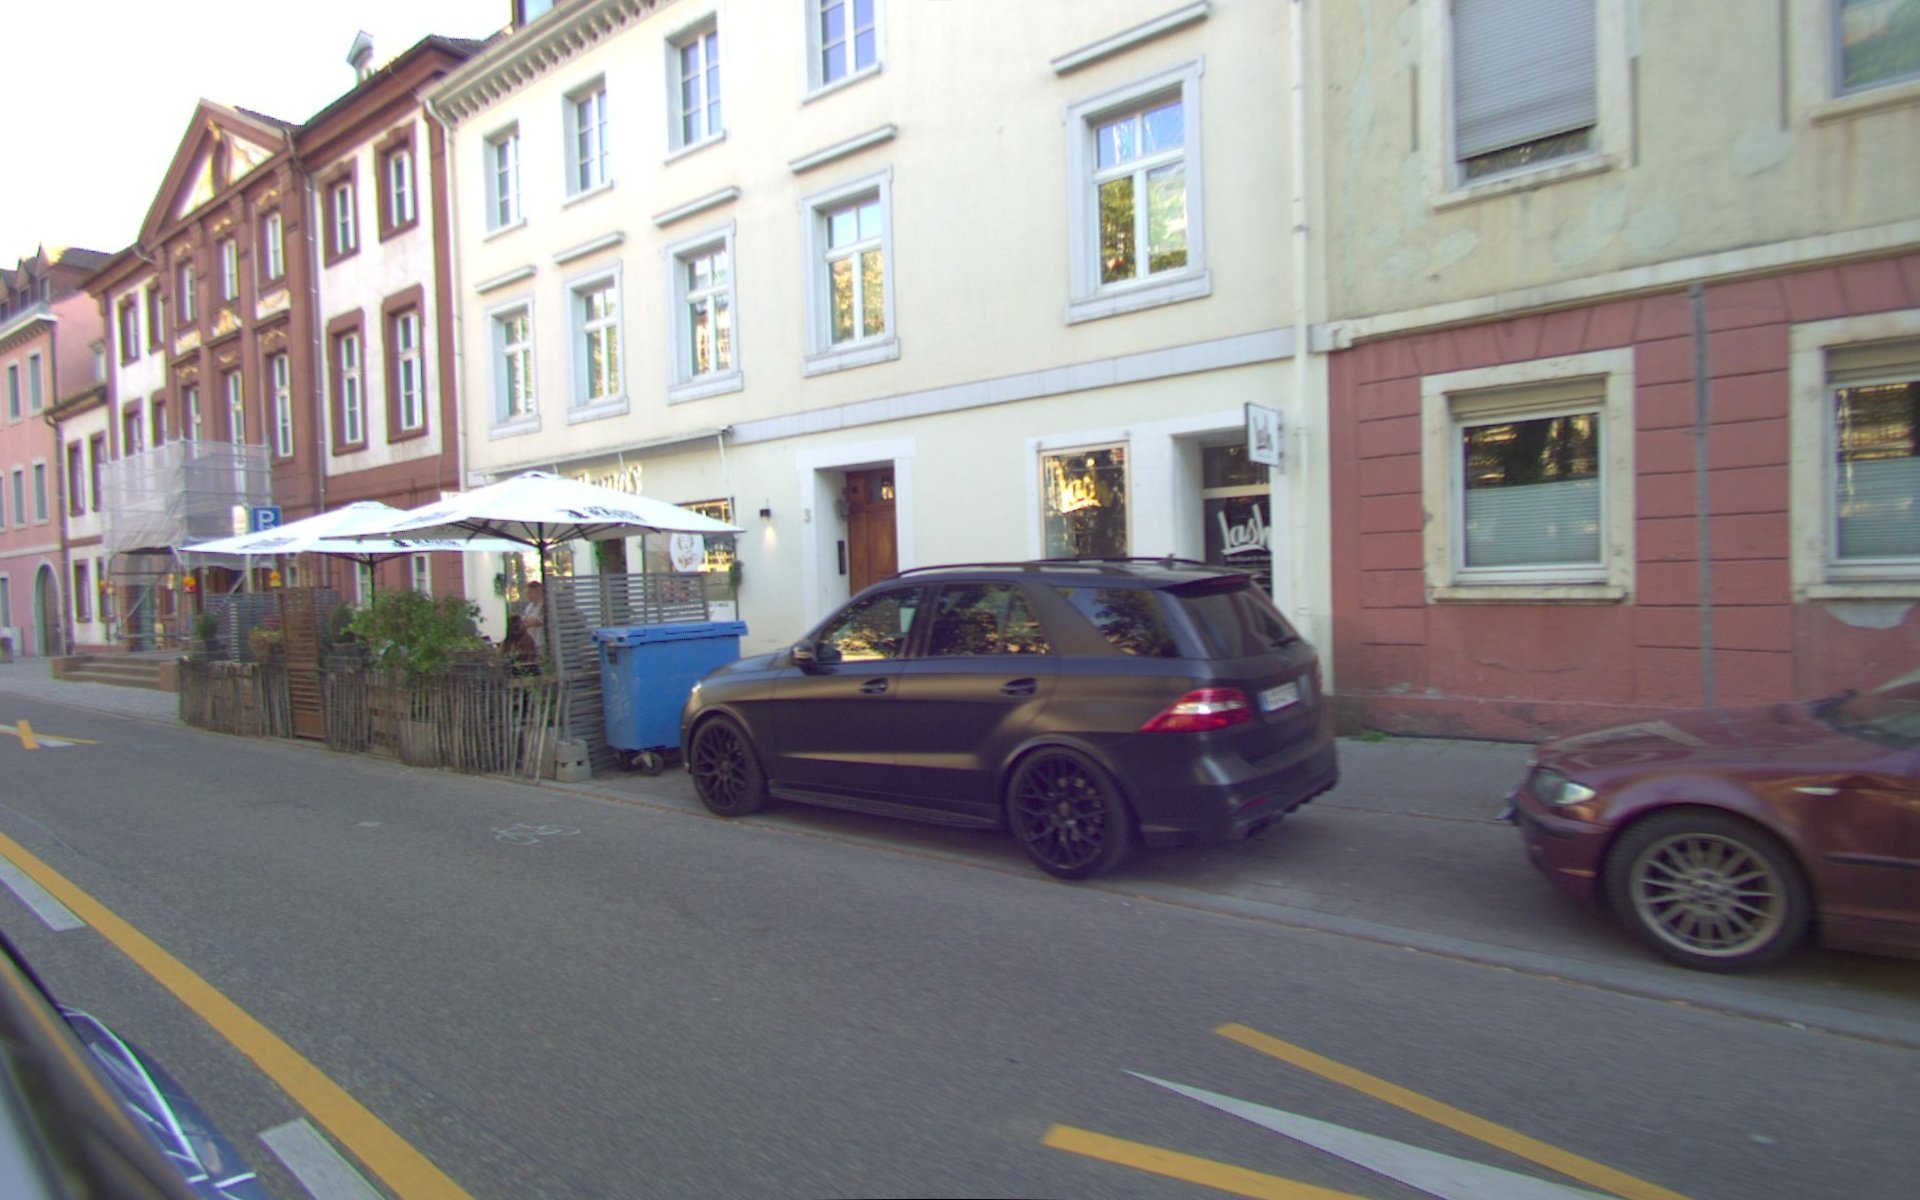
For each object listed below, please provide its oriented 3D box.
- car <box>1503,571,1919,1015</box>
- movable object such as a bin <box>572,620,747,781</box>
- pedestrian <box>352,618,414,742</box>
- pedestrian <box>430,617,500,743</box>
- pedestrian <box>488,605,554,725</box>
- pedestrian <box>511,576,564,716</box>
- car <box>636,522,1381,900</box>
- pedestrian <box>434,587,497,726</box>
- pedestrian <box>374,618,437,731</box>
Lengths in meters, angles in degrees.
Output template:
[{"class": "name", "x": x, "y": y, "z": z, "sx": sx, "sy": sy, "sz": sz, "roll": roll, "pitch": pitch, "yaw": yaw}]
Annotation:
[{"class": "car", "x": 4.479, "y": 0.616, "z": 3.423, "sx": 4.423, "sy": 1.491, "sz": 1.637, "roll": -1, "pitch": 0, "yaw": 39}, {"class": "movable object such as a bin", "x": -2.738, "y": 0.860, "z": 9.249, "sx": 0.930, "sy": 1.305, "sz": 1.203, "roll": -1, "pitch": 0, "yaw": 42}, {"class": "pedestrian", "x": -7.004, "y": 0.956, "z": 12.281, "sx": 0.502, "sy": 1.444, "sz": 0.466, "roll": -1, "pitch": 1, "yaw": 41}, {"class": "pedestrian", "x": -5.760, "y": 0.912, "z": 11.787, "sx": 0.487, "sy": 1.401, "sz": 0.519, "roll": -2, "pitch": 1, "yaw": 34}, {"class": "pedestrian", "x": -5.341, "y": 0.779, "z": 12.326, "sx": 0.487, "sy": 1.401, "sz": 0.519, "roll": -2, "pitch": 1, "yaw": 34}, {"class": "pedestrian", "x": -5.580, "y": 0.596, "z": 13.354, "sx": 0.432, "sy": 1.788, "sz": 0.598, "roll": -2, "pitch": 1, "yaw": -40}, {"class": "car", "x": 0.043, "y": 0.524, "z": 6.788, "sx": 4.780, "sy": 1.692, "sz": 1.903, "roll": -1, "pitch": 0, "yaw": 39}, {"class": "pedestrian", "x": -6.578, "y": 0.736, "z": 13.464, "sx": 0.589, "sy": 1.788, "sz": 0.439, "roll": -2, "pitch": 1, "yaw": -45}, {"class": "pedestrian", "x": -7.155, "y": 0.945, "z": 13.063, "sx": 0.487, "sy": 1.401, "sz": 0.519, "roll": -2, "pitch": 1, "yaw": 34}]
